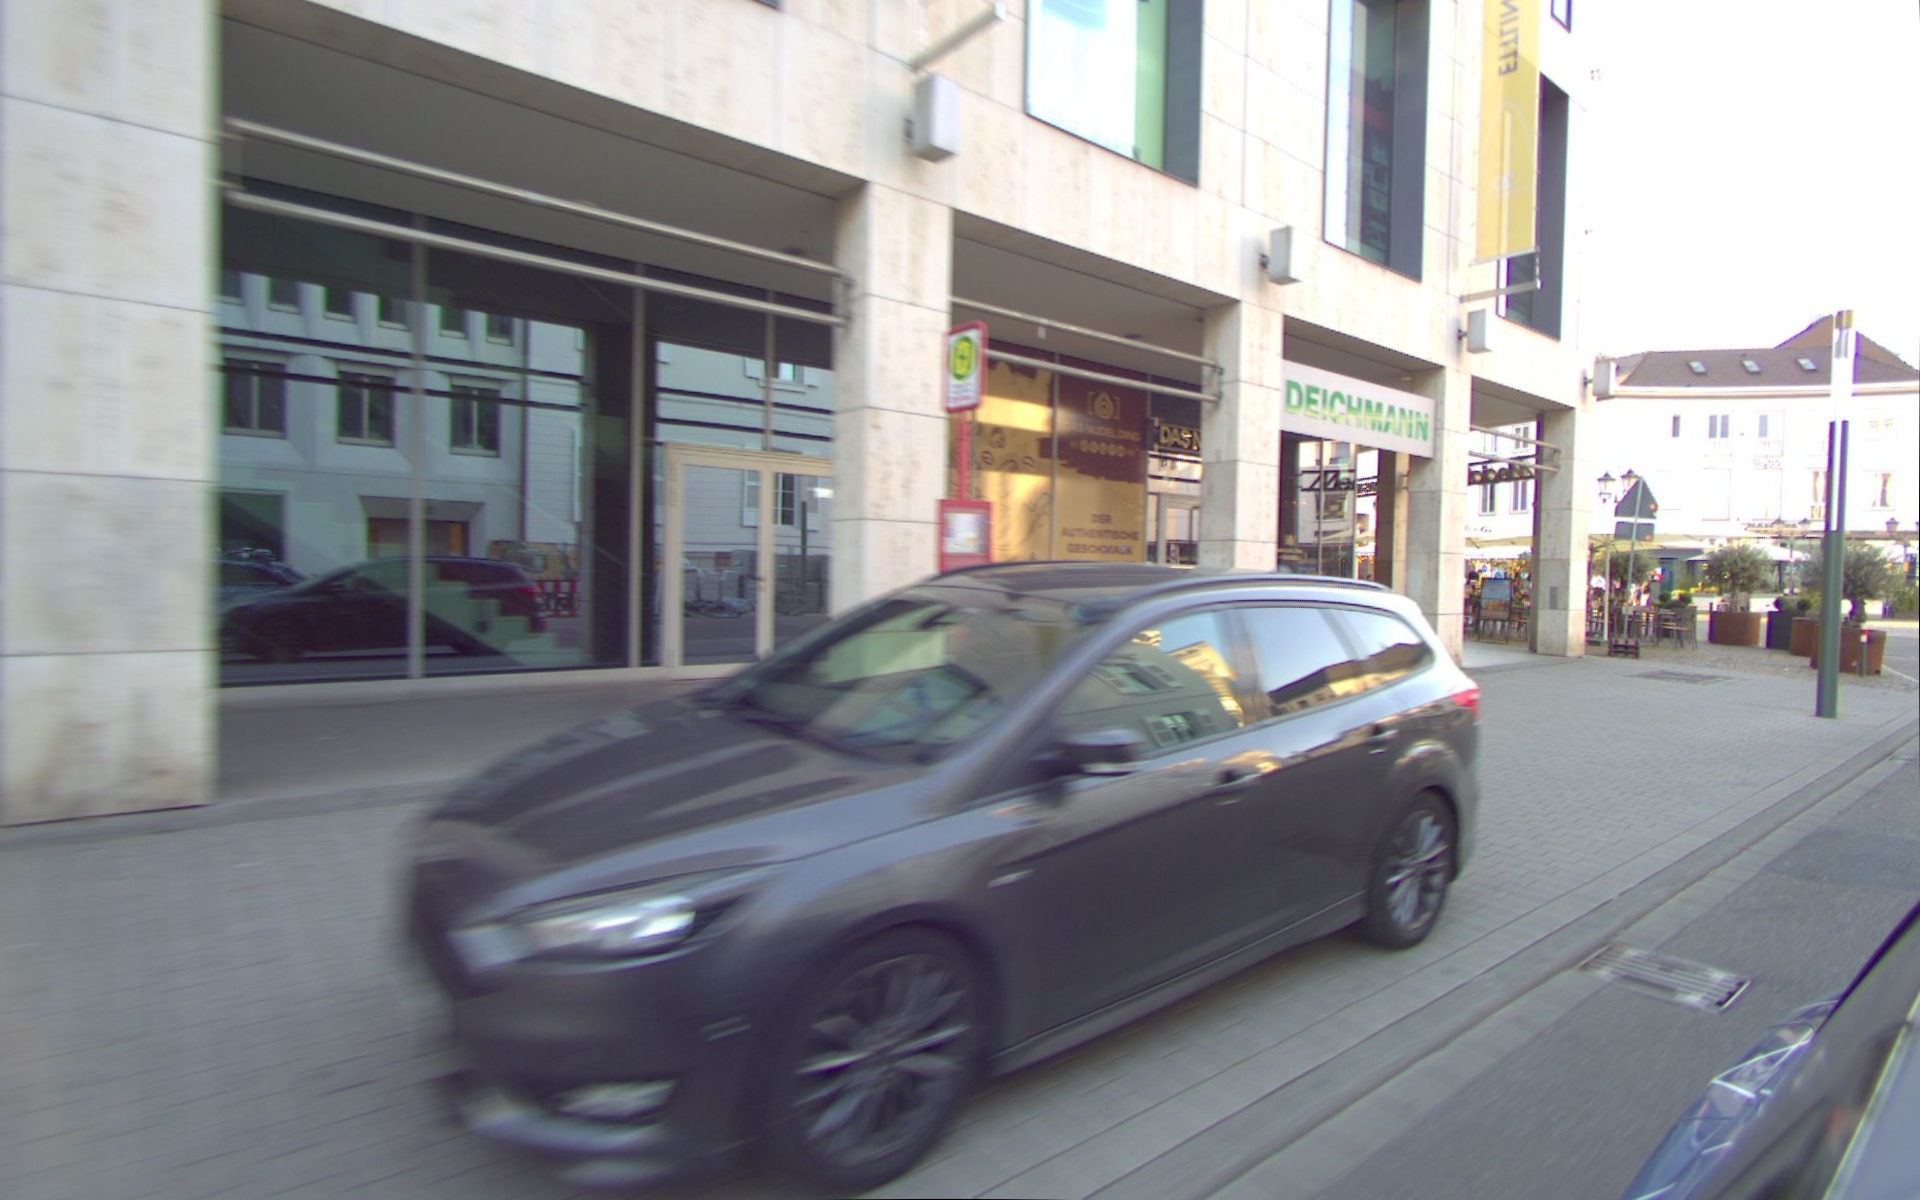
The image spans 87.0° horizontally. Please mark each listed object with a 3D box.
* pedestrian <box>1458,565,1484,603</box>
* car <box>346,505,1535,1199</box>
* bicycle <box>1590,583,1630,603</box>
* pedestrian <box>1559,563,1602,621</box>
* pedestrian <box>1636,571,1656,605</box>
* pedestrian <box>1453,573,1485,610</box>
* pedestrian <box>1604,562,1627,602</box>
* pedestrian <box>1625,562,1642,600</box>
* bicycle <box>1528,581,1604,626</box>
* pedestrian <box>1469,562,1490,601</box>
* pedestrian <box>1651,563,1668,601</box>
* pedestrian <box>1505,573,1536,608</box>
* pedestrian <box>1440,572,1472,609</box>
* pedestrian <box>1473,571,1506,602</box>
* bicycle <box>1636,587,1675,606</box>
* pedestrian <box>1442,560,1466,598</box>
[{"bbox_3d":[24.978,-0.780,49.464,0.963,1.825,0.729,0,1,-33],"label":"pedestrian"},{"bbox_3d":[0.267,0.524,3.729,4.118,1.508,1.800,-1,5,-40],"label":"car"},{"bbox_3d":[32.163,-0.343,50.067,1.644,0.945,0.474,1,1,-2],"label":"bicycle"},{"bbox_3d":[17.613,-0.239,28.741,0.699,1.608,0.751,1,1,-22],"label":"pedestrian"},{"bbox_3d":[34.988,-0.609,51.624,0.720,1.697,0.620,0,1,-38],"label":"pedestrian"},{"bbox_3d":[20.517,-0.358,40.829,0.847,1.465,0.725,1,1,-16],"label":"pedestrian"},{"bbox_3d":[32.481,-0.881,50.151,0.615,1.952,0.647,1,1,-16],"label":"pedestrian"},{"bbox_3d":[34.899,-1.008,52.432,0.533,1.947,0.580,0,1,-38],"label":"pedestrian"},{"bbox_3d":[16.800,0.089,28.051,1.866,1.142,0.609,3,1,-15],"label":"bicycle"},{"bbox_3d":[24.179,-0.854,47.100,0.706,1.769,0.707,1,1,15],"label":"pedestrian"},{"bbox_3d":[34.905,-0.896,50.493,0.705,1.840,0.509,0,1,-38],"label":"pedestrian"},{"bbox_3d":[24.339,-0.416,43.945,0.847,1.465,0.725,1,1,-16],"label":"pedestrian"},{"bbox_3d":[19.735,-0.379,40.253,0.847,1.465,0.725,1,1,-16],"label":"pedestrian"},{"bbox_3d":[24.768,-0.637,47.375,0.926,1.465,0.973,0,1,-24],"label":"pedestrian"},{"bbox_3d":[34.803,-0.173,50.662,1.644,0.945,0.474,1,1,-2],"label":"bicycle"},{"bbox_3d":[24.478,-1.037,50.116,0.834,1.825,0.730,0,1,-33],"label":"pedestrian"}]
